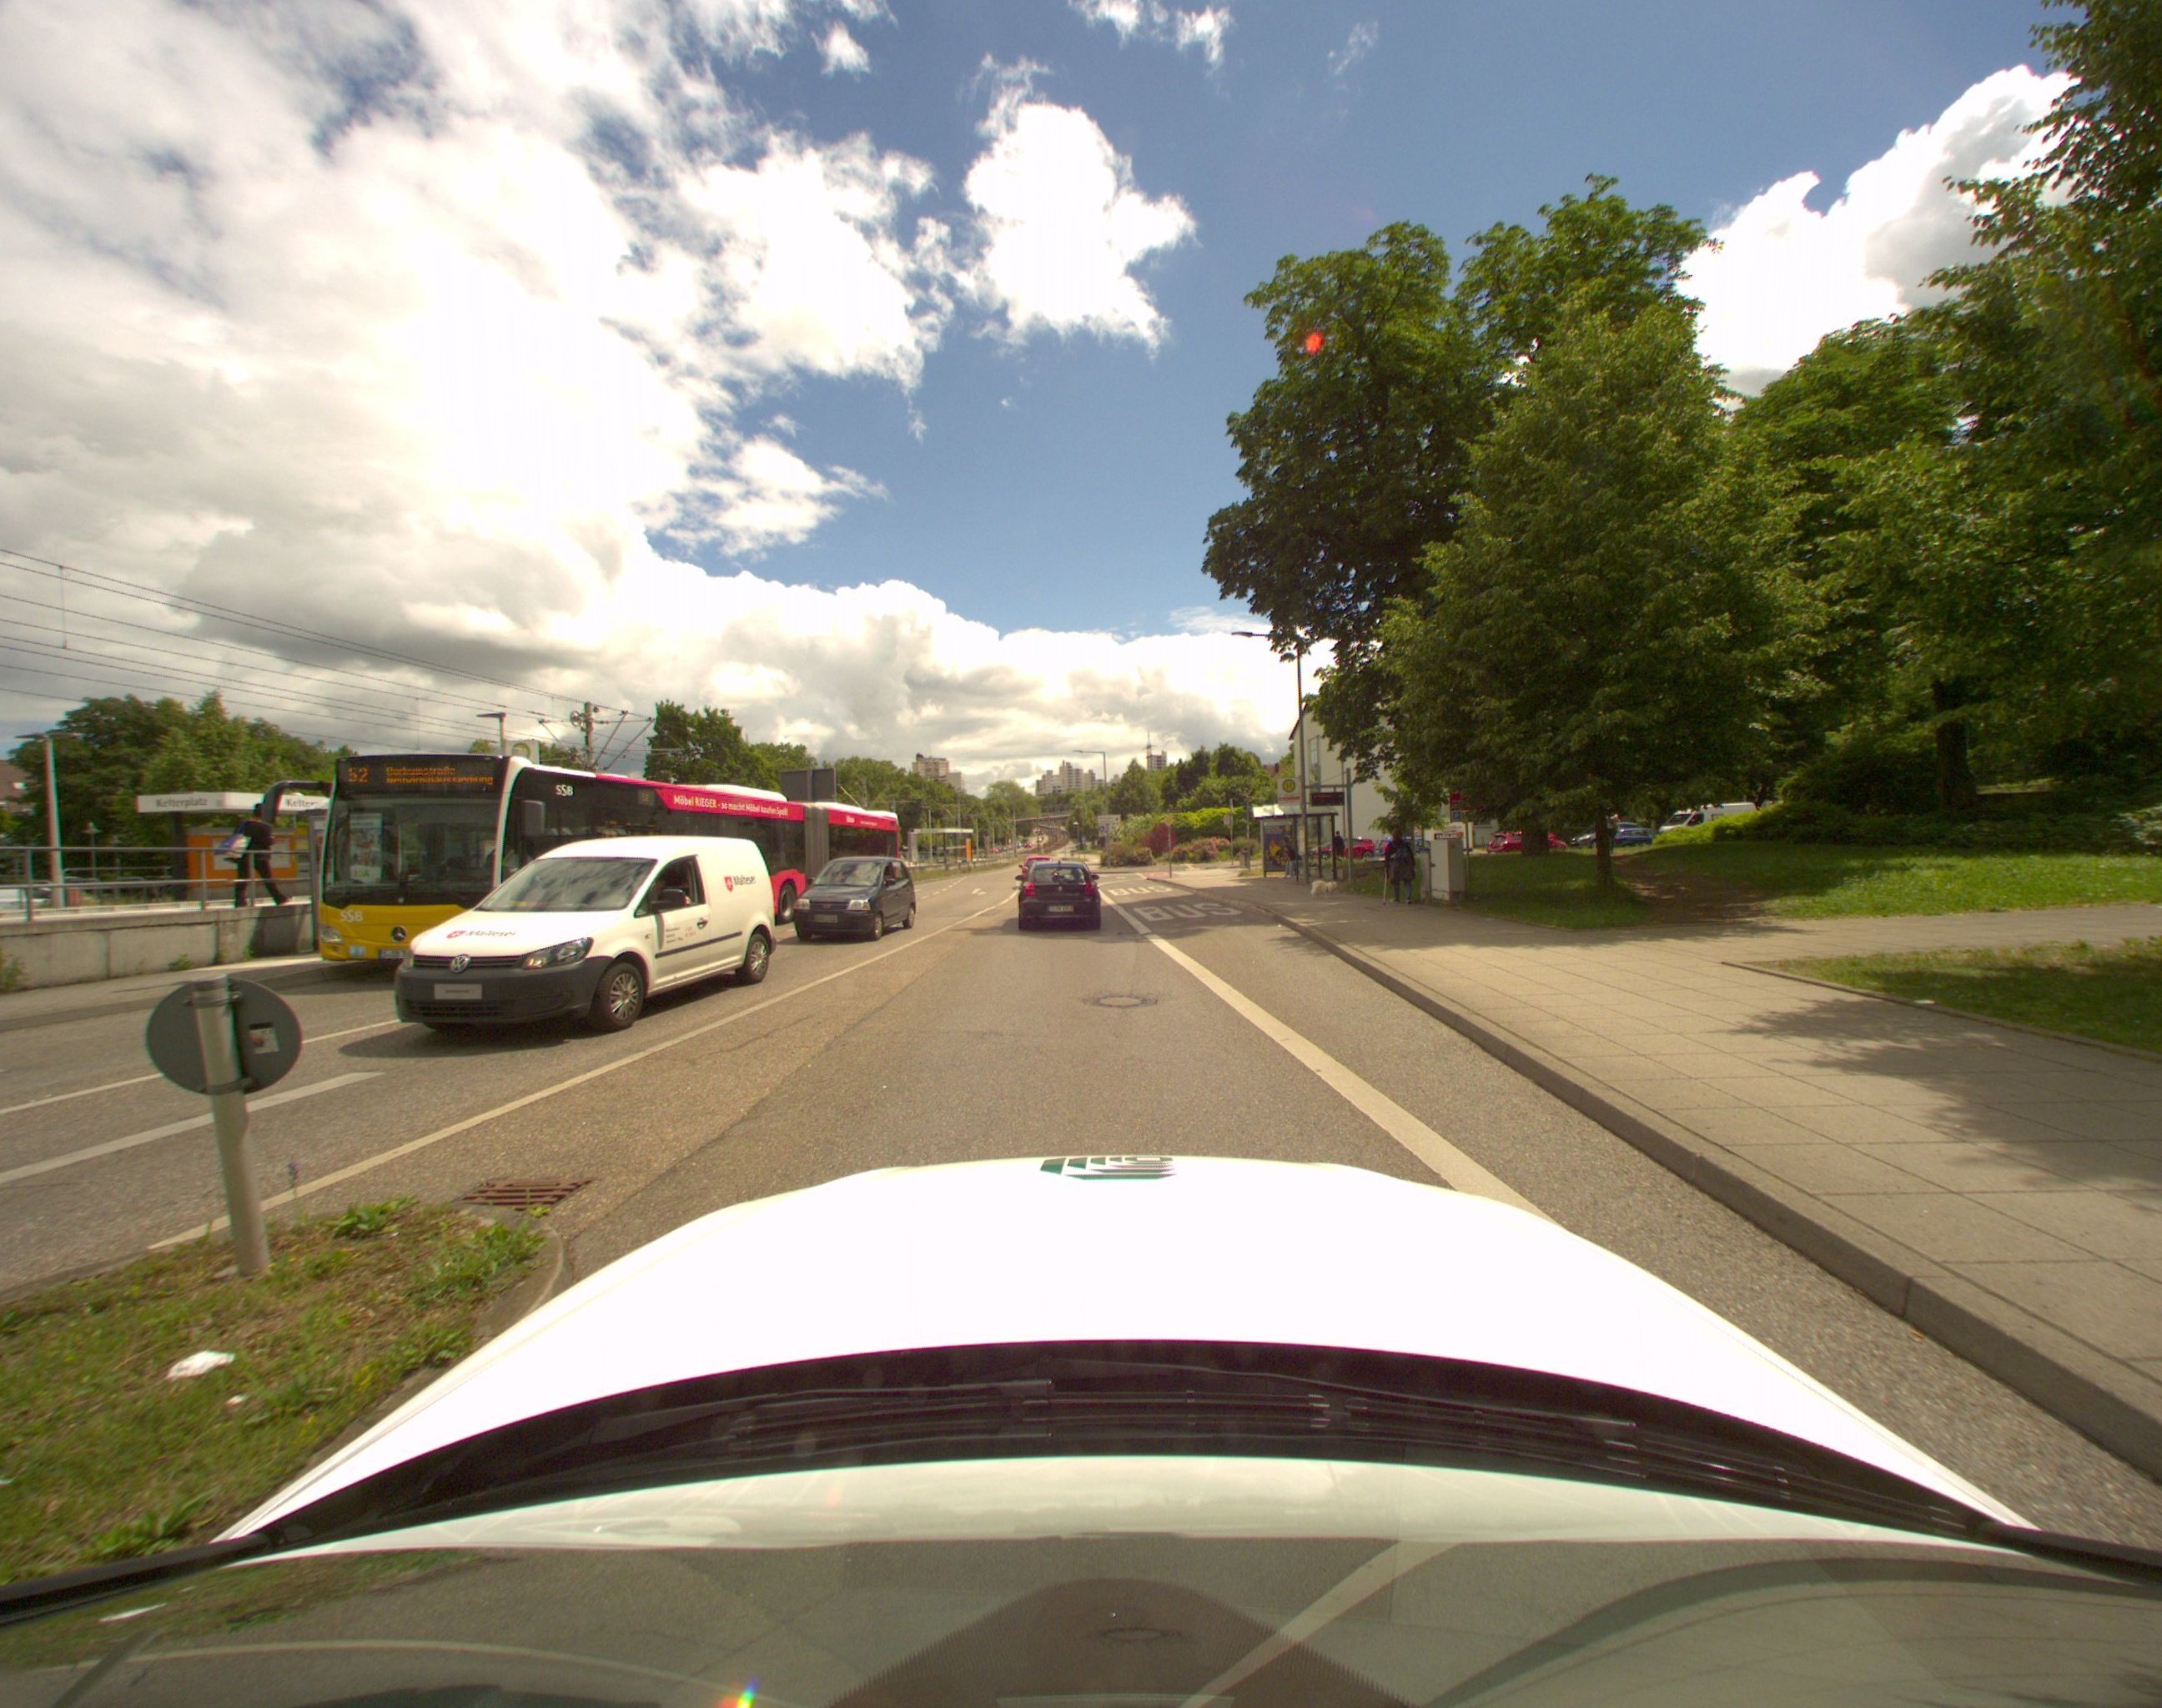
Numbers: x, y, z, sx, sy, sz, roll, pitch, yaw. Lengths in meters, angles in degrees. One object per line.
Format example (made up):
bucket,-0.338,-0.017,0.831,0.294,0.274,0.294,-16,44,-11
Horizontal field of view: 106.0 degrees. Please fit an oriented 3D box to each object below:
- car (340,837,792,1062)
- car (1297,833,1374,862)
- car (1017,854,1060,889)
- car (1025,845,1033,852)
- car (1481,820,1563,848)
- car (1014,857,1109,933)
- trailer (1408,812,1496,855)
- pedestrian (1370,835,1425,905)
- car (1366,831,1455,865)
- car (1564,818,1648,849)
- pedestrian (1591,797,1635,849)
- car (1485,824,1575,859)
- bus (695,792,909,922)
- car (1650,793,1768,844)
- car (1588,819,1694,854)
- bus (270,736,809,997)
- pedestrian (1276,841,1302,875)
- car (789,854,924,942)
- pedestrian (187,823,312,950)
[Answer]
car,-4.812,0.746,8.591,1.755,1.662,4.507,-3,0,1
car,15.843,-0.444,50.904,4.146,1.561,1.999,-2,3,-3
car,-1.928,0.747,37.033,1.762,1.432,3.475,-3,0,-3
car,-12.804,-1.330,199.079,1.714,1.502,2.966,-2,1,-1
car,27.624,-1.266,51.116,4.067,1.502,2.001,-3,2,0
car,-0.393,0.817,18.155,1.810,1.421,3.999,-3,0,-1
trailer,23.265,-1.288,51.170,4.521,2.486,2.222,-2,2,1
pedestrian,6.728,0.336,17.333,0.816,1.424,0.830,-2,-1,3
car,16.959,-0.309,41.993,3.781,1.456,1.896,-4,2,0
car,32.782,-1.254,50.958,3.970,1.723,1.911,-3,1,3
pedestrian,18.802,-1.069,28.799,0.979,1.760,0.861,-3,0,13
car,23.121,-0.655,42.035,3.674,1.643,1.830,-2,2,0
bus,-7.693,0.087,24.153,2.714,3.070,8.971,-2,0,3
car,39.158,-2.186,50.900,5.555,2.866,2.205,-3,0,2
car,28.857,-0.907,42.050,4.066,1.559,1.999,-3,1,-1
bus,-8.235,0.086,14.779,2.714,3.109,9.713,-2,1,3
pedestrian,7.981,0.161,31.254,0.823,1.259,0.687,-2,1,5
car,-4.340,0.780,16.295,1.524,1.551,3.735,0,0,2
pedestrian,-13.927,0.529,13.673,0.966,2.013,1.030,-3,-1,6
